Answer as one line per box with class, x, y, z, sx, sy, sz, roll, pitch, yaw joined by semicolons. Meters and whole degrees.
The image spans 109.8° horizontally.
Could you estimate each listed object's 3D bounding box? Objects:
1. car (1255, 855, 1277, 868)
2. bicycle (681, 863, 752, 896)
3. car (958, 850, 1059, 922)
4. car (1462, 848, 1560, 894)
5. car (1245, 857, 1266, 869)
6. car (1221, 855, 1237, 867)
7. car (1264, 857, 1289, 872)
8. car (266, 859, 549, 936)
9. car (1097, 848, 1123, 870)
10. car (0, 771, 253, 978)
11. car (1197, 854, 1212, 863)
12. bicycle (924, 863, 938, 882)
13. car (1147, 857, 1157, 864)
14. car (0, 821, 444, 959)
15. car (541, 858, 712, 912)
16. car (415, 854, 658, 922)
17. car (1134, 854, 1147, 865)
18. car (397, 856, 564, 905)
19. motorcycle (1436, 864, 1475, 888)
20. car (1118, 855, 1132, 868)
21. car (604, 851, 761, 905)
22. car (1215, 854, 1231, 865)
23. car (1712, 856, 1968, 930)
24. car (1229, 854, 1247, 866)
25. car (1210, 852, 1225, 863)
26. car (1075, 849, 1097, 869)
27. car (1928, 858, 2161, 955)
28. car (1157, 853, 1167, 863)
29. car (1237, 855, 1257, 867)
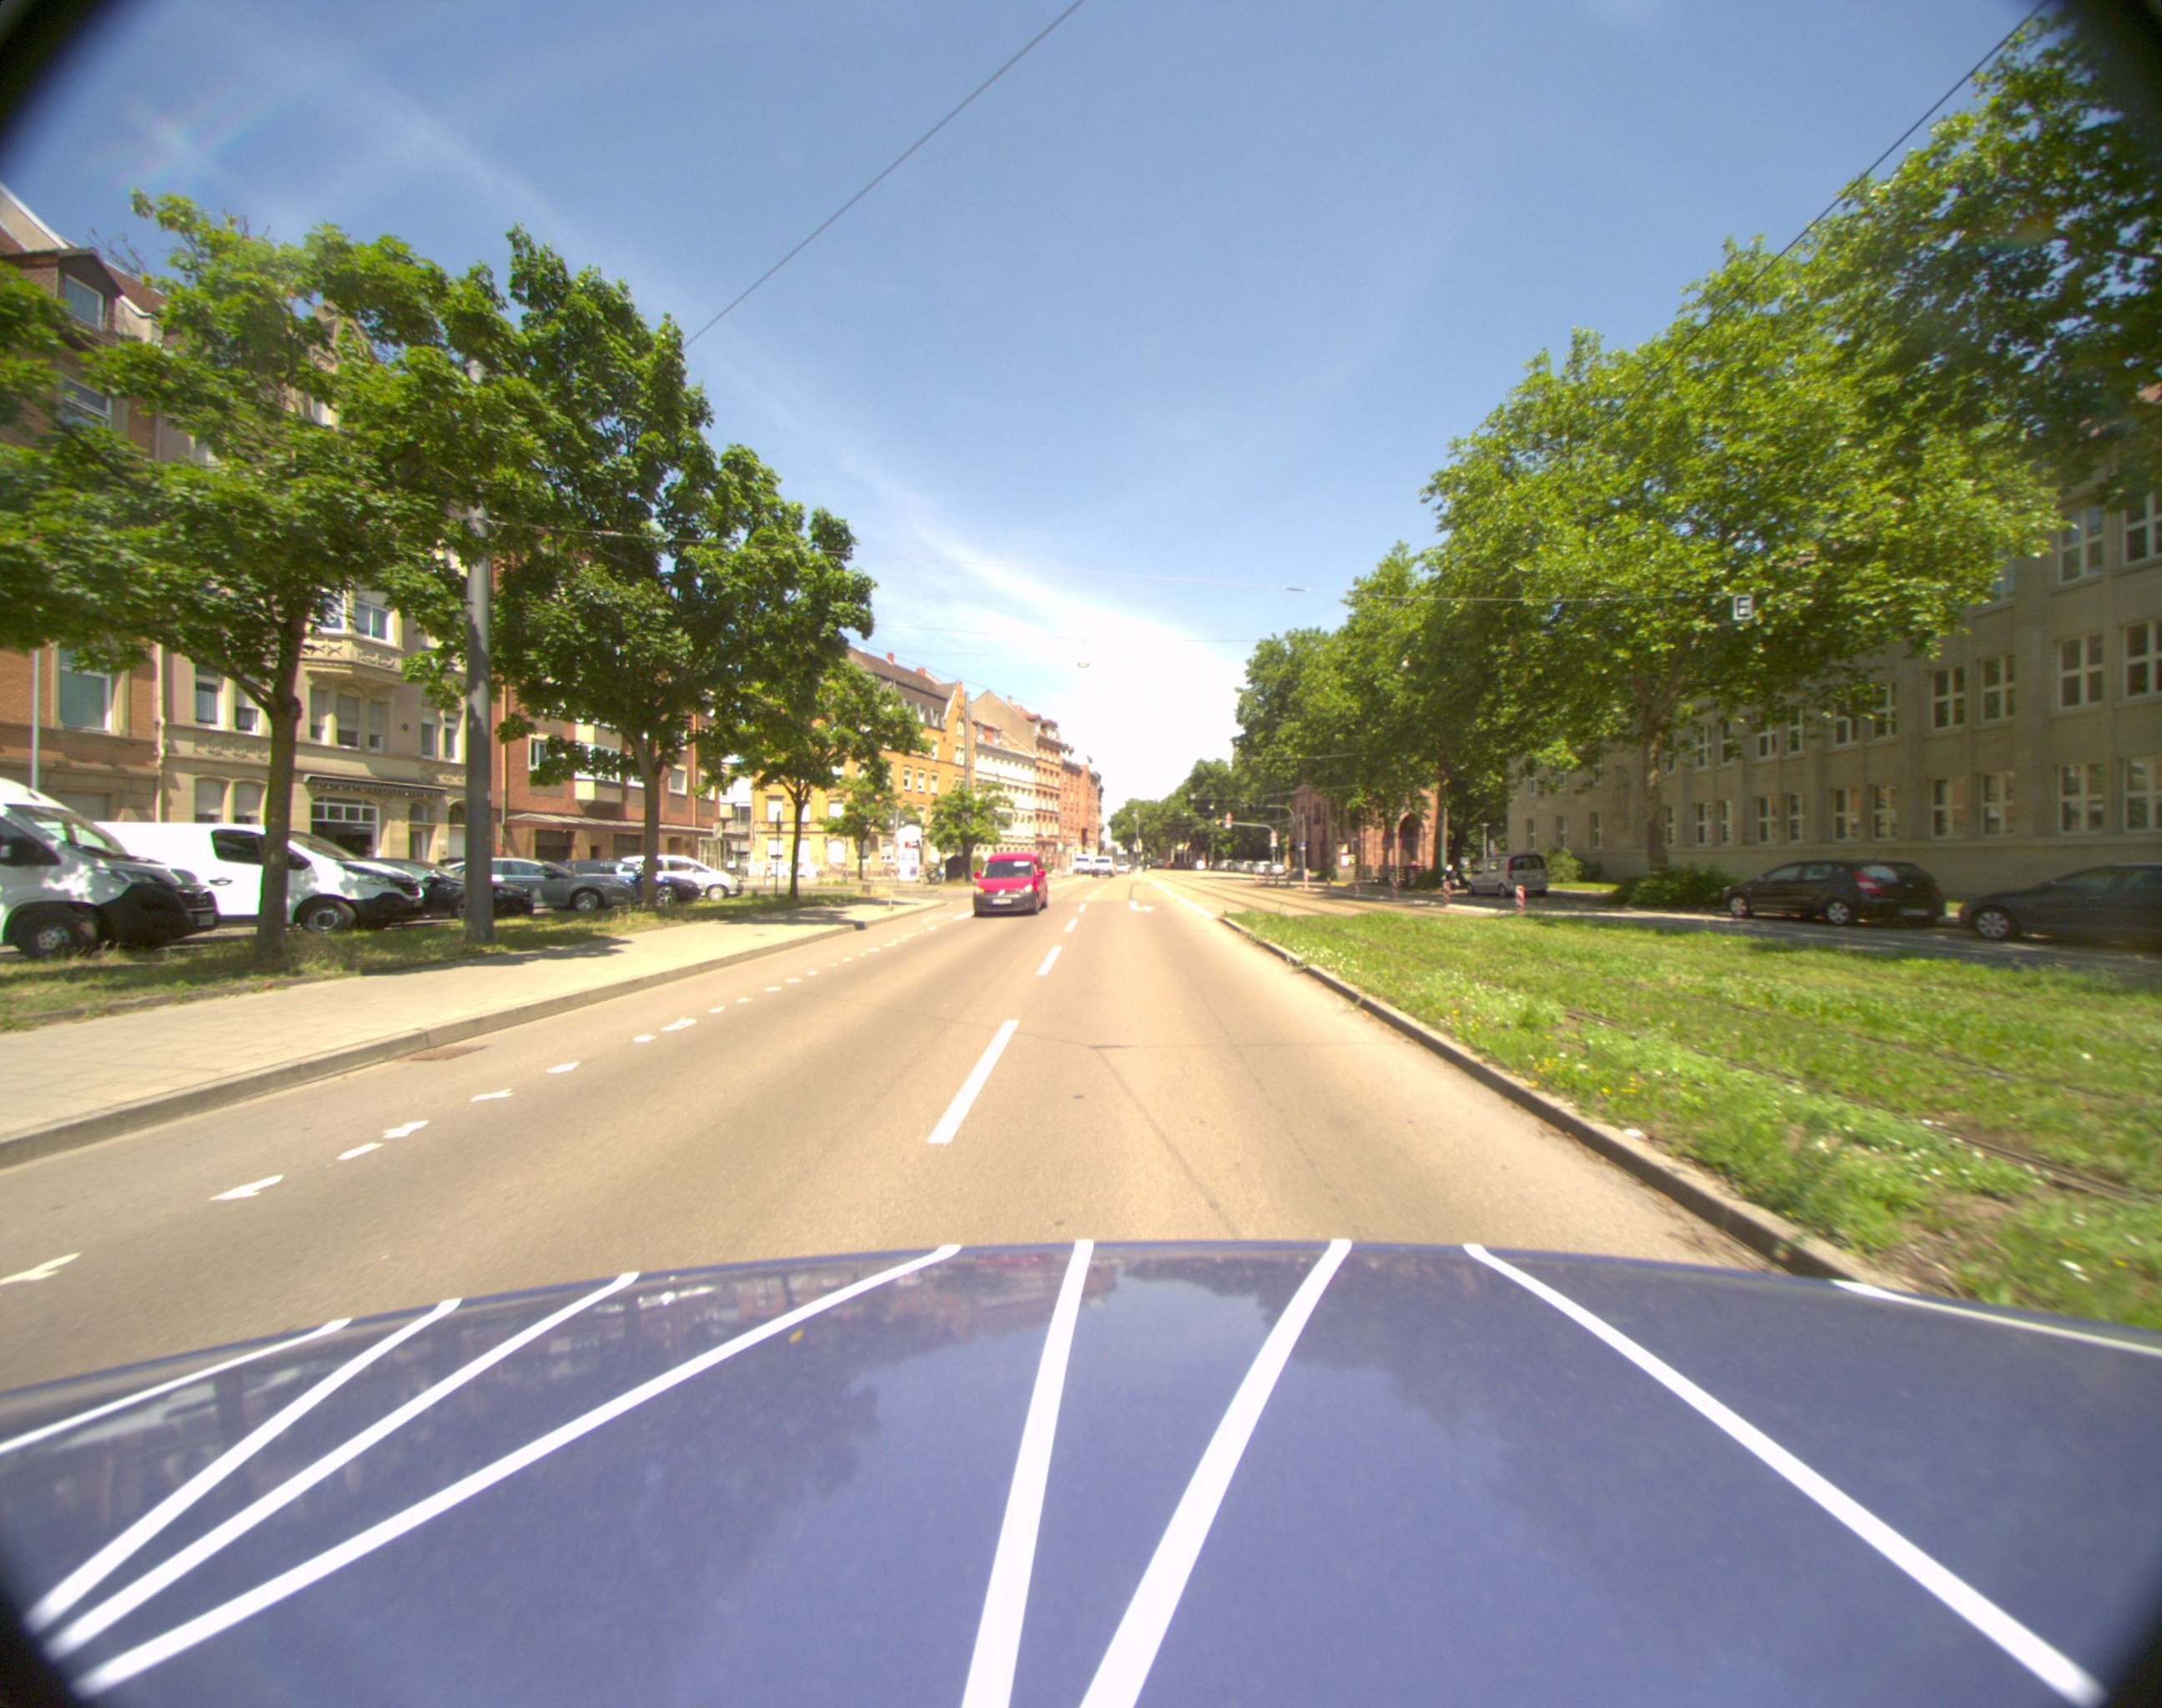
car;20.675;0.849;85.196;1.662;1.450;4.059;-1;0;3
bicycle;-13.942;0.965;29.152;0.739;1.186;2.365;-1;0;34
car;-1.956;0.823;22.180;1.858;1.823;5.169;-1;0;6
car;18.131;0.679;32.297;1.998;1.800;4.302;-1;0;4
car;20.695;1.044;90.136;1.662;1.450;4.059;-1;0;1
car;21.687;0.992;111.512;1.747;1.643;3.906;-1;0;3
car;20.572;1.093;80.097;1.662;1.450;4.222;-1;0;3
car;-13.806;0.833;15.890;4.003;1.378;1.821;-1;0;-18
car;2.719;0.462;72.627;2.166;1.926;4.853;-1;0;-2
car;-14.422;0.275;9.174;5.561;2.446;2.232;-1;0;-34
car;21.799;0.857;134.281;1.977;1.553;4.000;-1;0;-1
bicycle;-9.331;1.149;47.305;0.487;1.146;1.708;-1;0;0
car;15.320;1.435;163.620;1.750;1.387;4.347;-2;0;0
car;-14.034;0.486;12.658;4.855;1.961;2.072;-1;0;-26
car;-13.273;0.866;22.459;4.003;1.391;1.821;-1;0;-18
car;-13.555;0.794;19.318;4.638;1.488;1.962;-1;0;-21
car;8.810;0.824;112.674;1.799;1.565;4.001;-1;0;4
car;-21.695;0.899;27.756;1.997;1.591;4.602;-1;0;10
motorcycle;18.294;1.083;37.083;1.874;1.062;0.725;-3;1;-28
car;5.653;0.930;97.167;1.799;1.565;4.001;-1;0;4
car;-13.277;0.759;25.632;4.416;1.622;1.997;-1;0;-19
car;22.185;0.851;118.881;1.998;1.707;4.001;-1;0;3
car;17.263;0.808;17.644;1.767;1.474;4.324;-1;0;3
car;20.833;0.793;100.908;1.747;1.514;3.754;-1;0;1
car;22.324;0.539;124.445;1.825;1.681;3.733;-1;0;2
car;0.622;0.656;94.293;1.997;2.317;5.410;3;0;8
car;16.948;0.786;12.299;1.592;1.415;4.323;-1;0;-1
car;18.163;0.950;170.855;1.821;2.283;3.762;-1;0;0
car;20.823;0.897;95.337;1.747;1.450;3.754;-1;0;1
